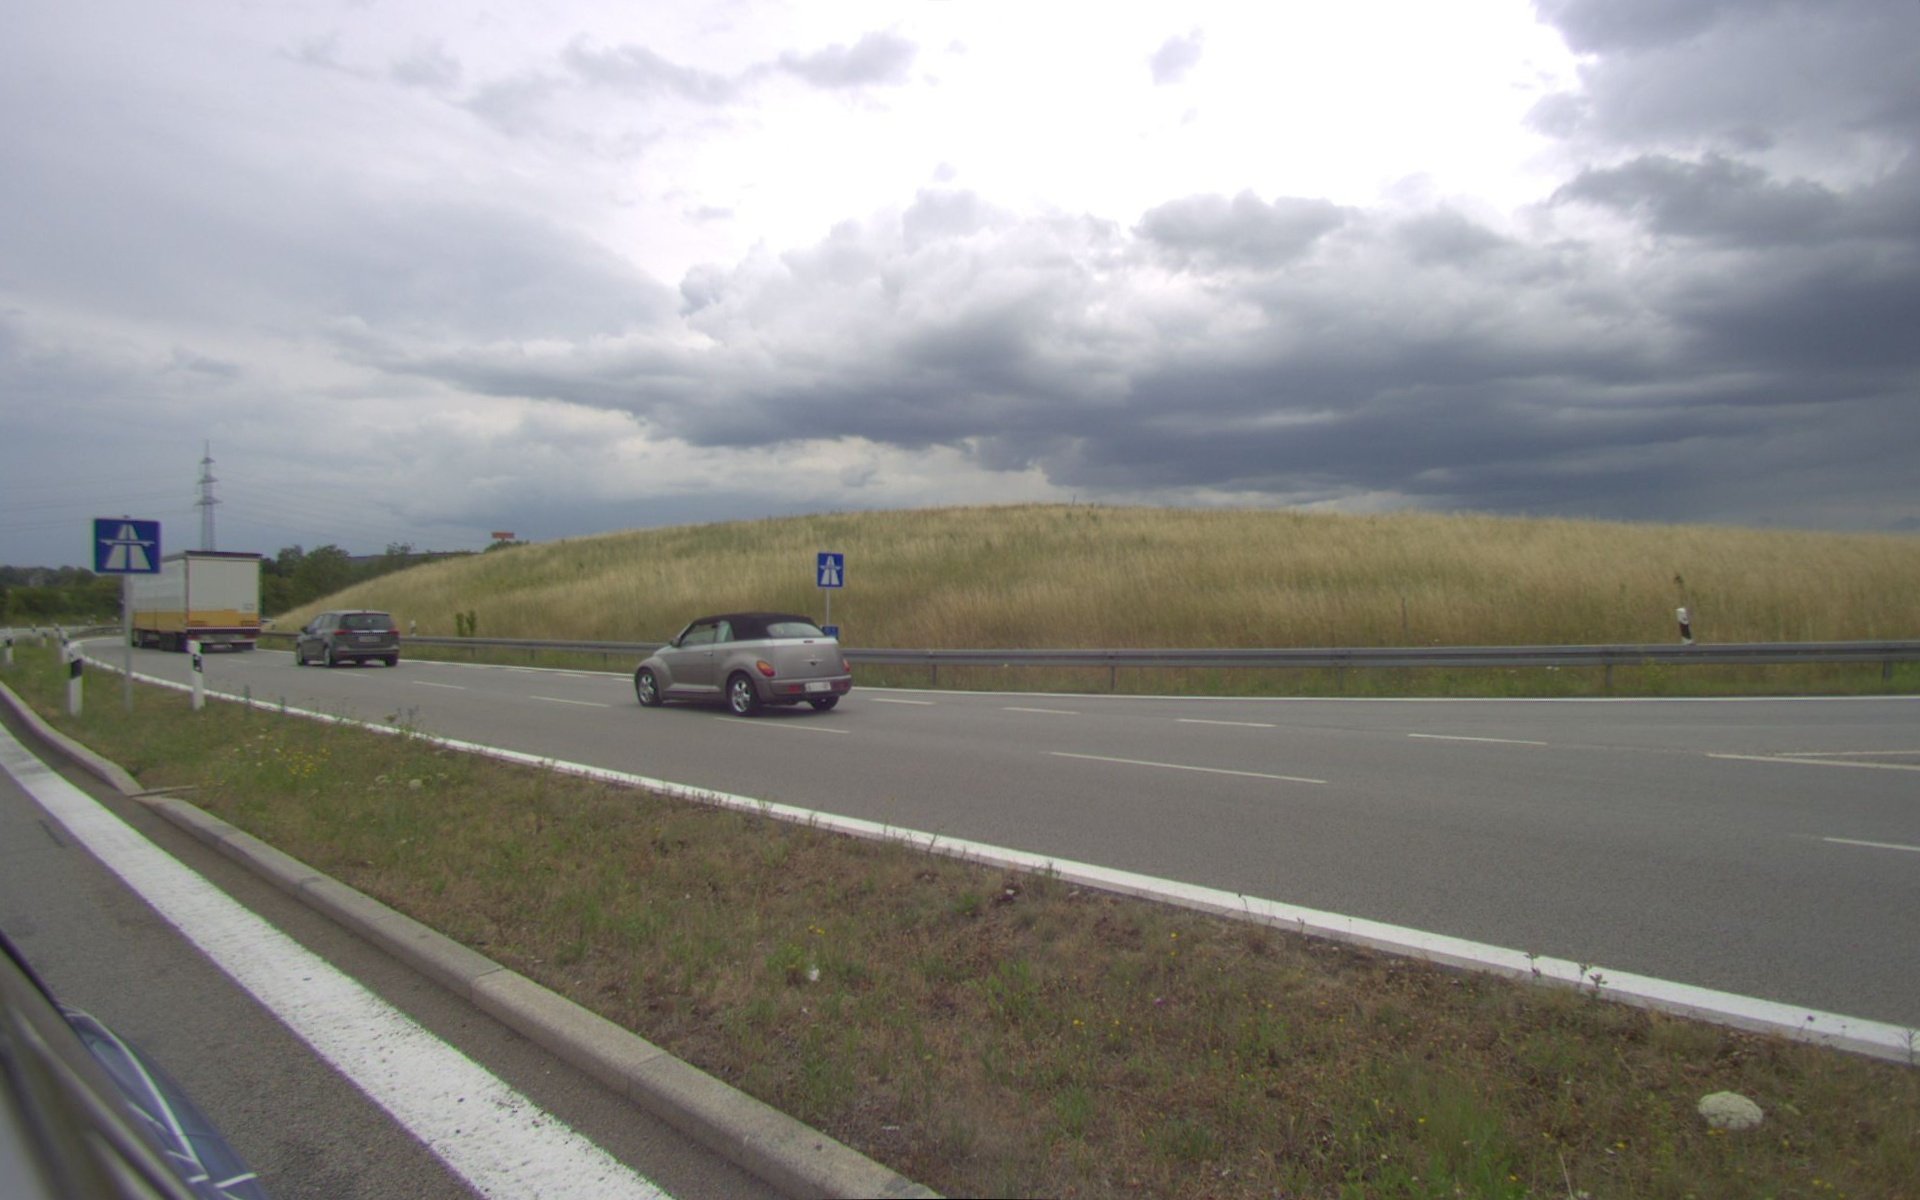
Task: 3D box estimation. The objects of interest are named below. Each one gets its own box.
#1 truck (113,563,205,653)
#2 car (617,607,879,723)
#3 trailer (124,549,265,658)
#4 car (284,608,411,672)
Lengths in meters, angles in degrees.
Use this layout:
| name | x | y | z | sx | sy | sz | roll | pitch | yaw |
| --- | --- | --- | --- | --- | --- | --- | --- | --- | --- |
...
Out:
| name | x | y | z | sx | sy | sz | roll | pitch | yaw |
| --- | --- | --- | --- | --- | --- | --- | --- | --- | --- |
| truck | -39.789 | 0.370 | 50.202 | 6.403 | 4.172 | 2.621 | 0 | 0 | 43 |
| car | -3.400 | 0.938 | 15.774 | 4.240 | 1.532 | 1.791 | -2 | 0 | 41 |
| trailer | -34.511 | 0.124 | 45.284 | 13.840 | 4.242 | 2.663 | 0 | 0 | 43 |
| car | -18.137 | 1.118 | 29.897 | 4.453 | 1.707 | 1.973 | 0 | 0 | 41 |
